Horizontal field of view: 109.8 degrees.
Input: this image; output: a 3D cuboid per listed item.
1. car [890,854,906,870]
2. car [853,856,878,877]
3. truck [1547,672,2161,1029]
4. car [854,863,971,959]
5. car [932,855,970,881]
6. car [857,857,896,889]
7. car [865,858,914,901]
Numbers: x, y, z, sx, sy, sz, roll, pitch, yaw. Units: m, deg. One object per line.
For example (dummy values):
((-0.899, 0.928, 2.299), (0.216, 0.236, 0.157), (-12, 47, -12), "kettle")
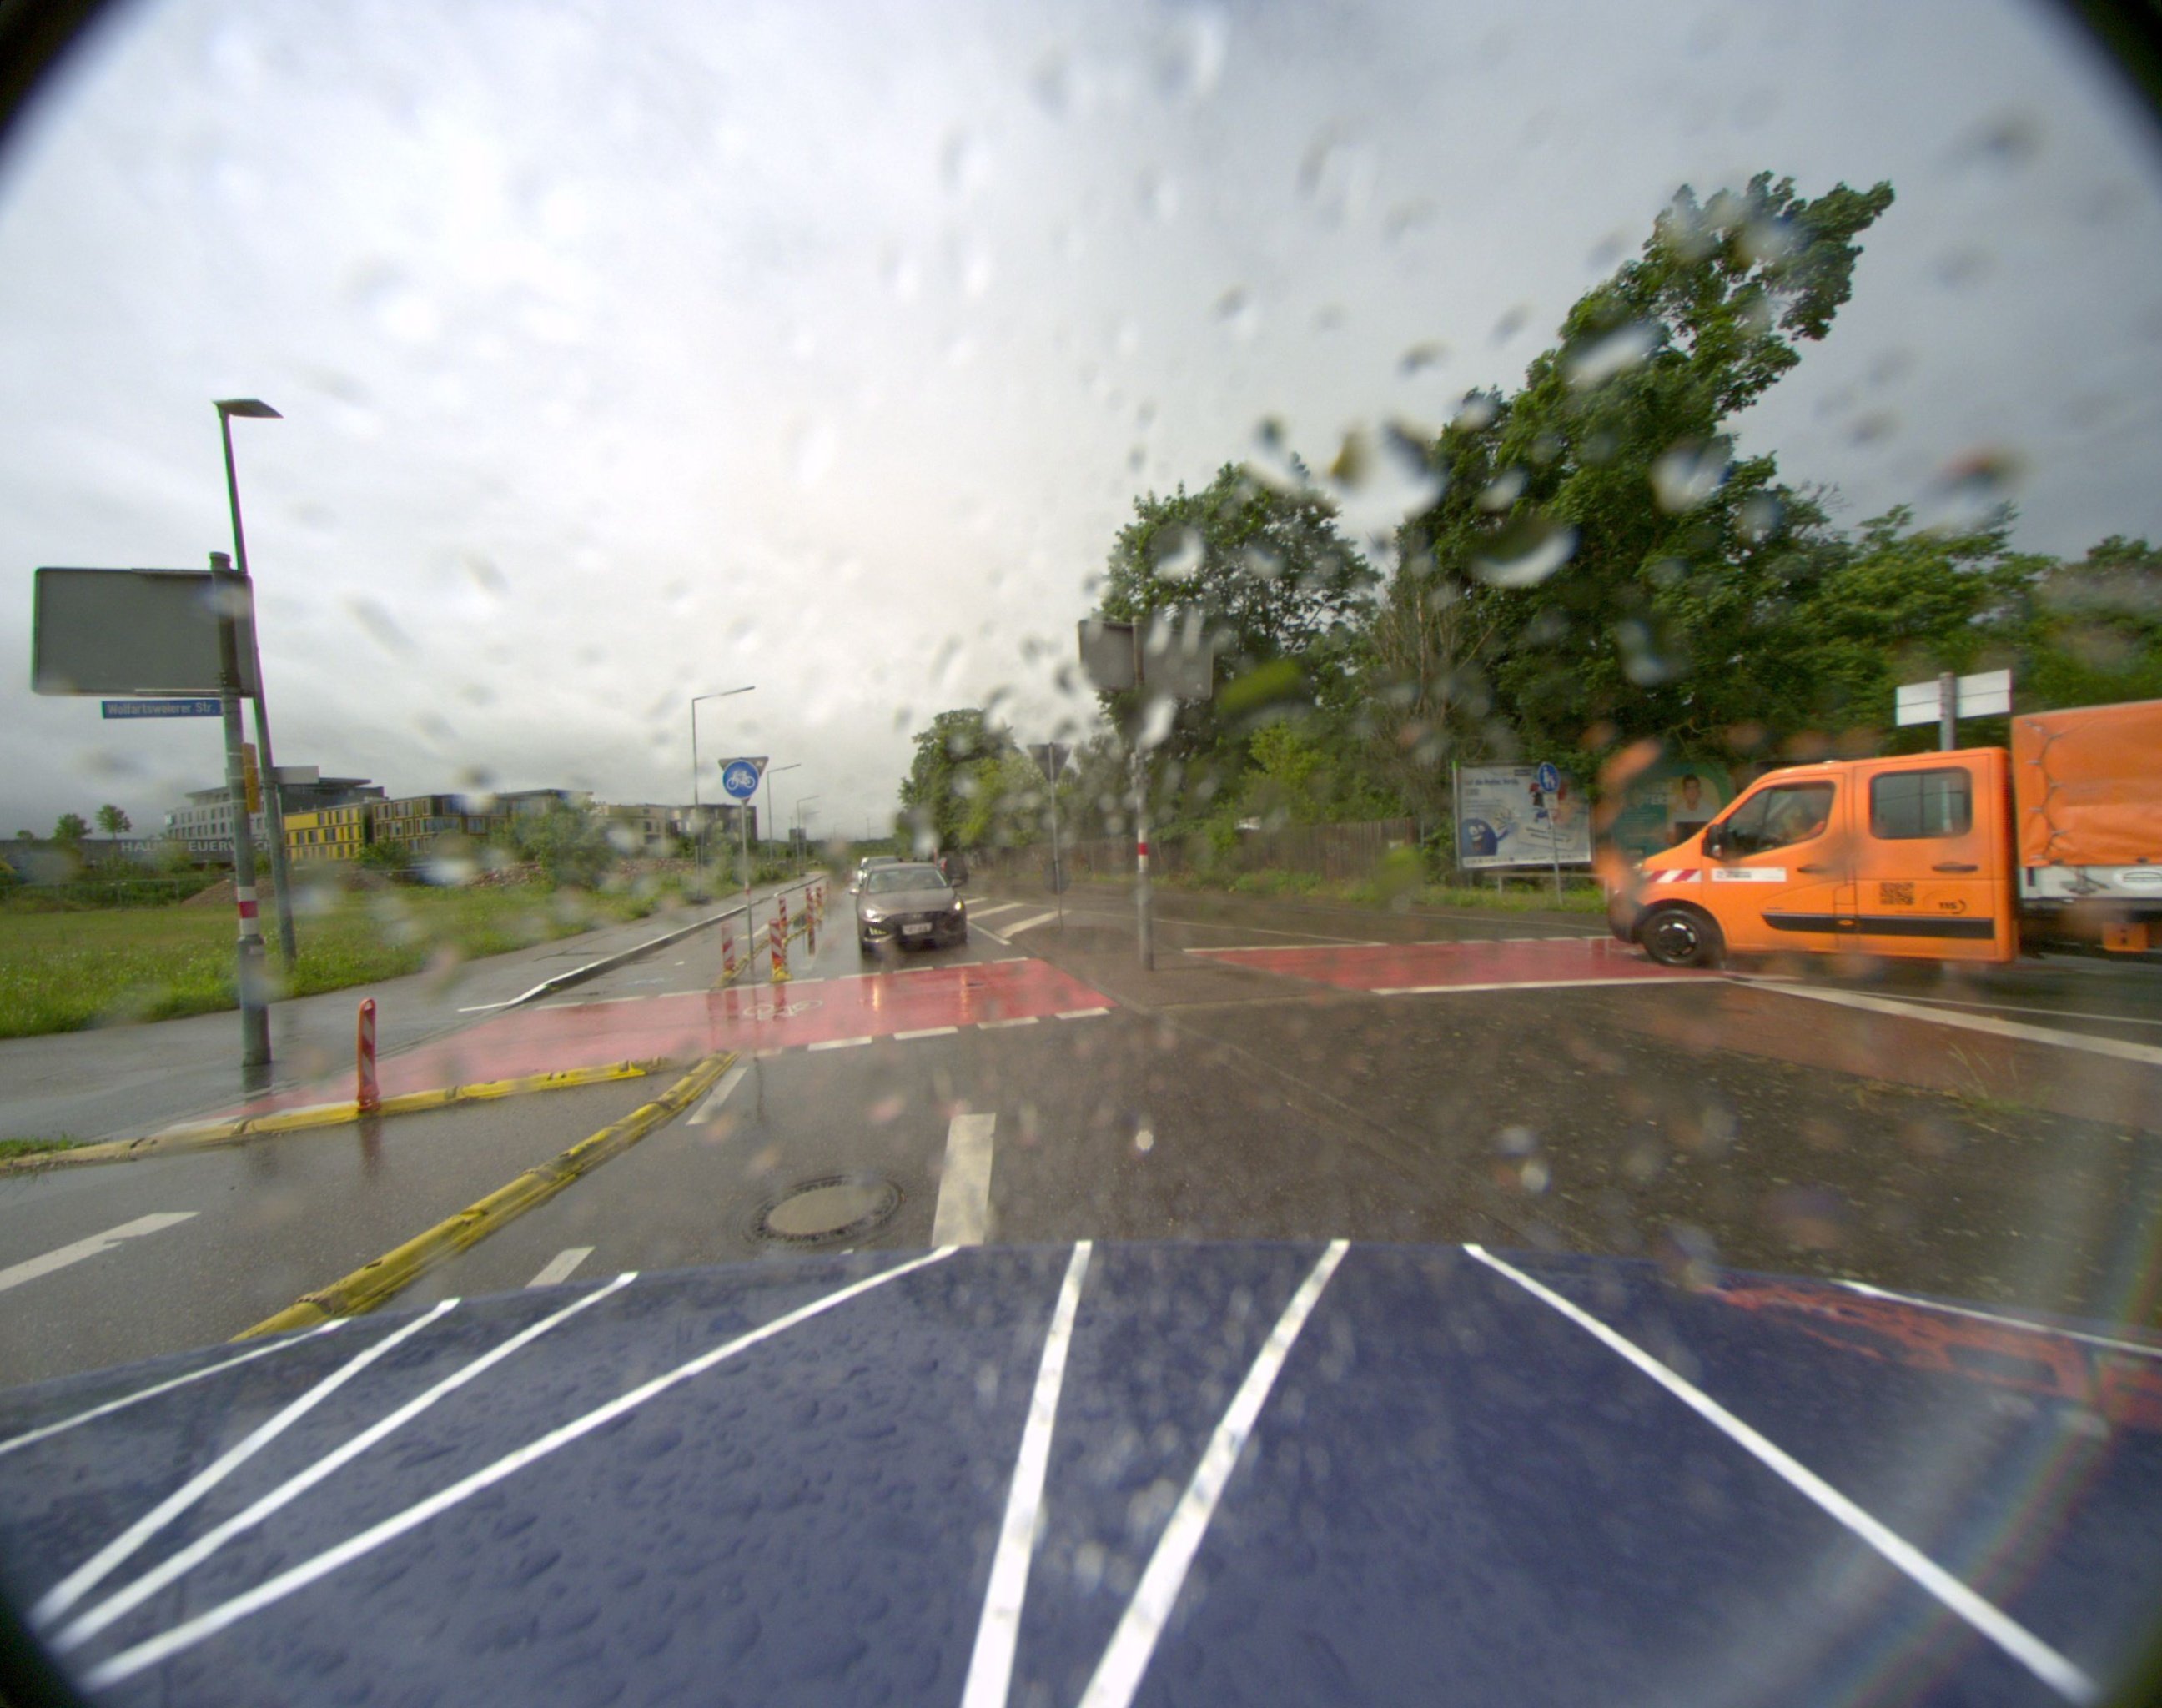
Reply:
((-27.847, 1.173, 115.488), (2.001, 2.321, 3.994), (-2, 0, -19), "car")
((-19.443, 1.135, 68.473), (1.877, 1.653, 4.476), (-5, 1, -19), "car")
((8.724, -0.043, 7.131), (2.466, 2.710, 6.928), (-3, 0, -36), "truck")
((-3.219, 0.942, 14.128), (1.736, 1.405, 4.123), (-4, 0, -15), "car")
((-7.959, 0.843, 46.306), (1.635, 1.524, 3.452), (-1, -1, -20), "car")
((-12.328, 1.109, 45.562), (1.877, 1.653, 4.476), (-5, 1, -19), "car")
((-8.505, 1.071, 33.931), (1.876, 1.653, 4.478), (-3, 1, -13), "car")
